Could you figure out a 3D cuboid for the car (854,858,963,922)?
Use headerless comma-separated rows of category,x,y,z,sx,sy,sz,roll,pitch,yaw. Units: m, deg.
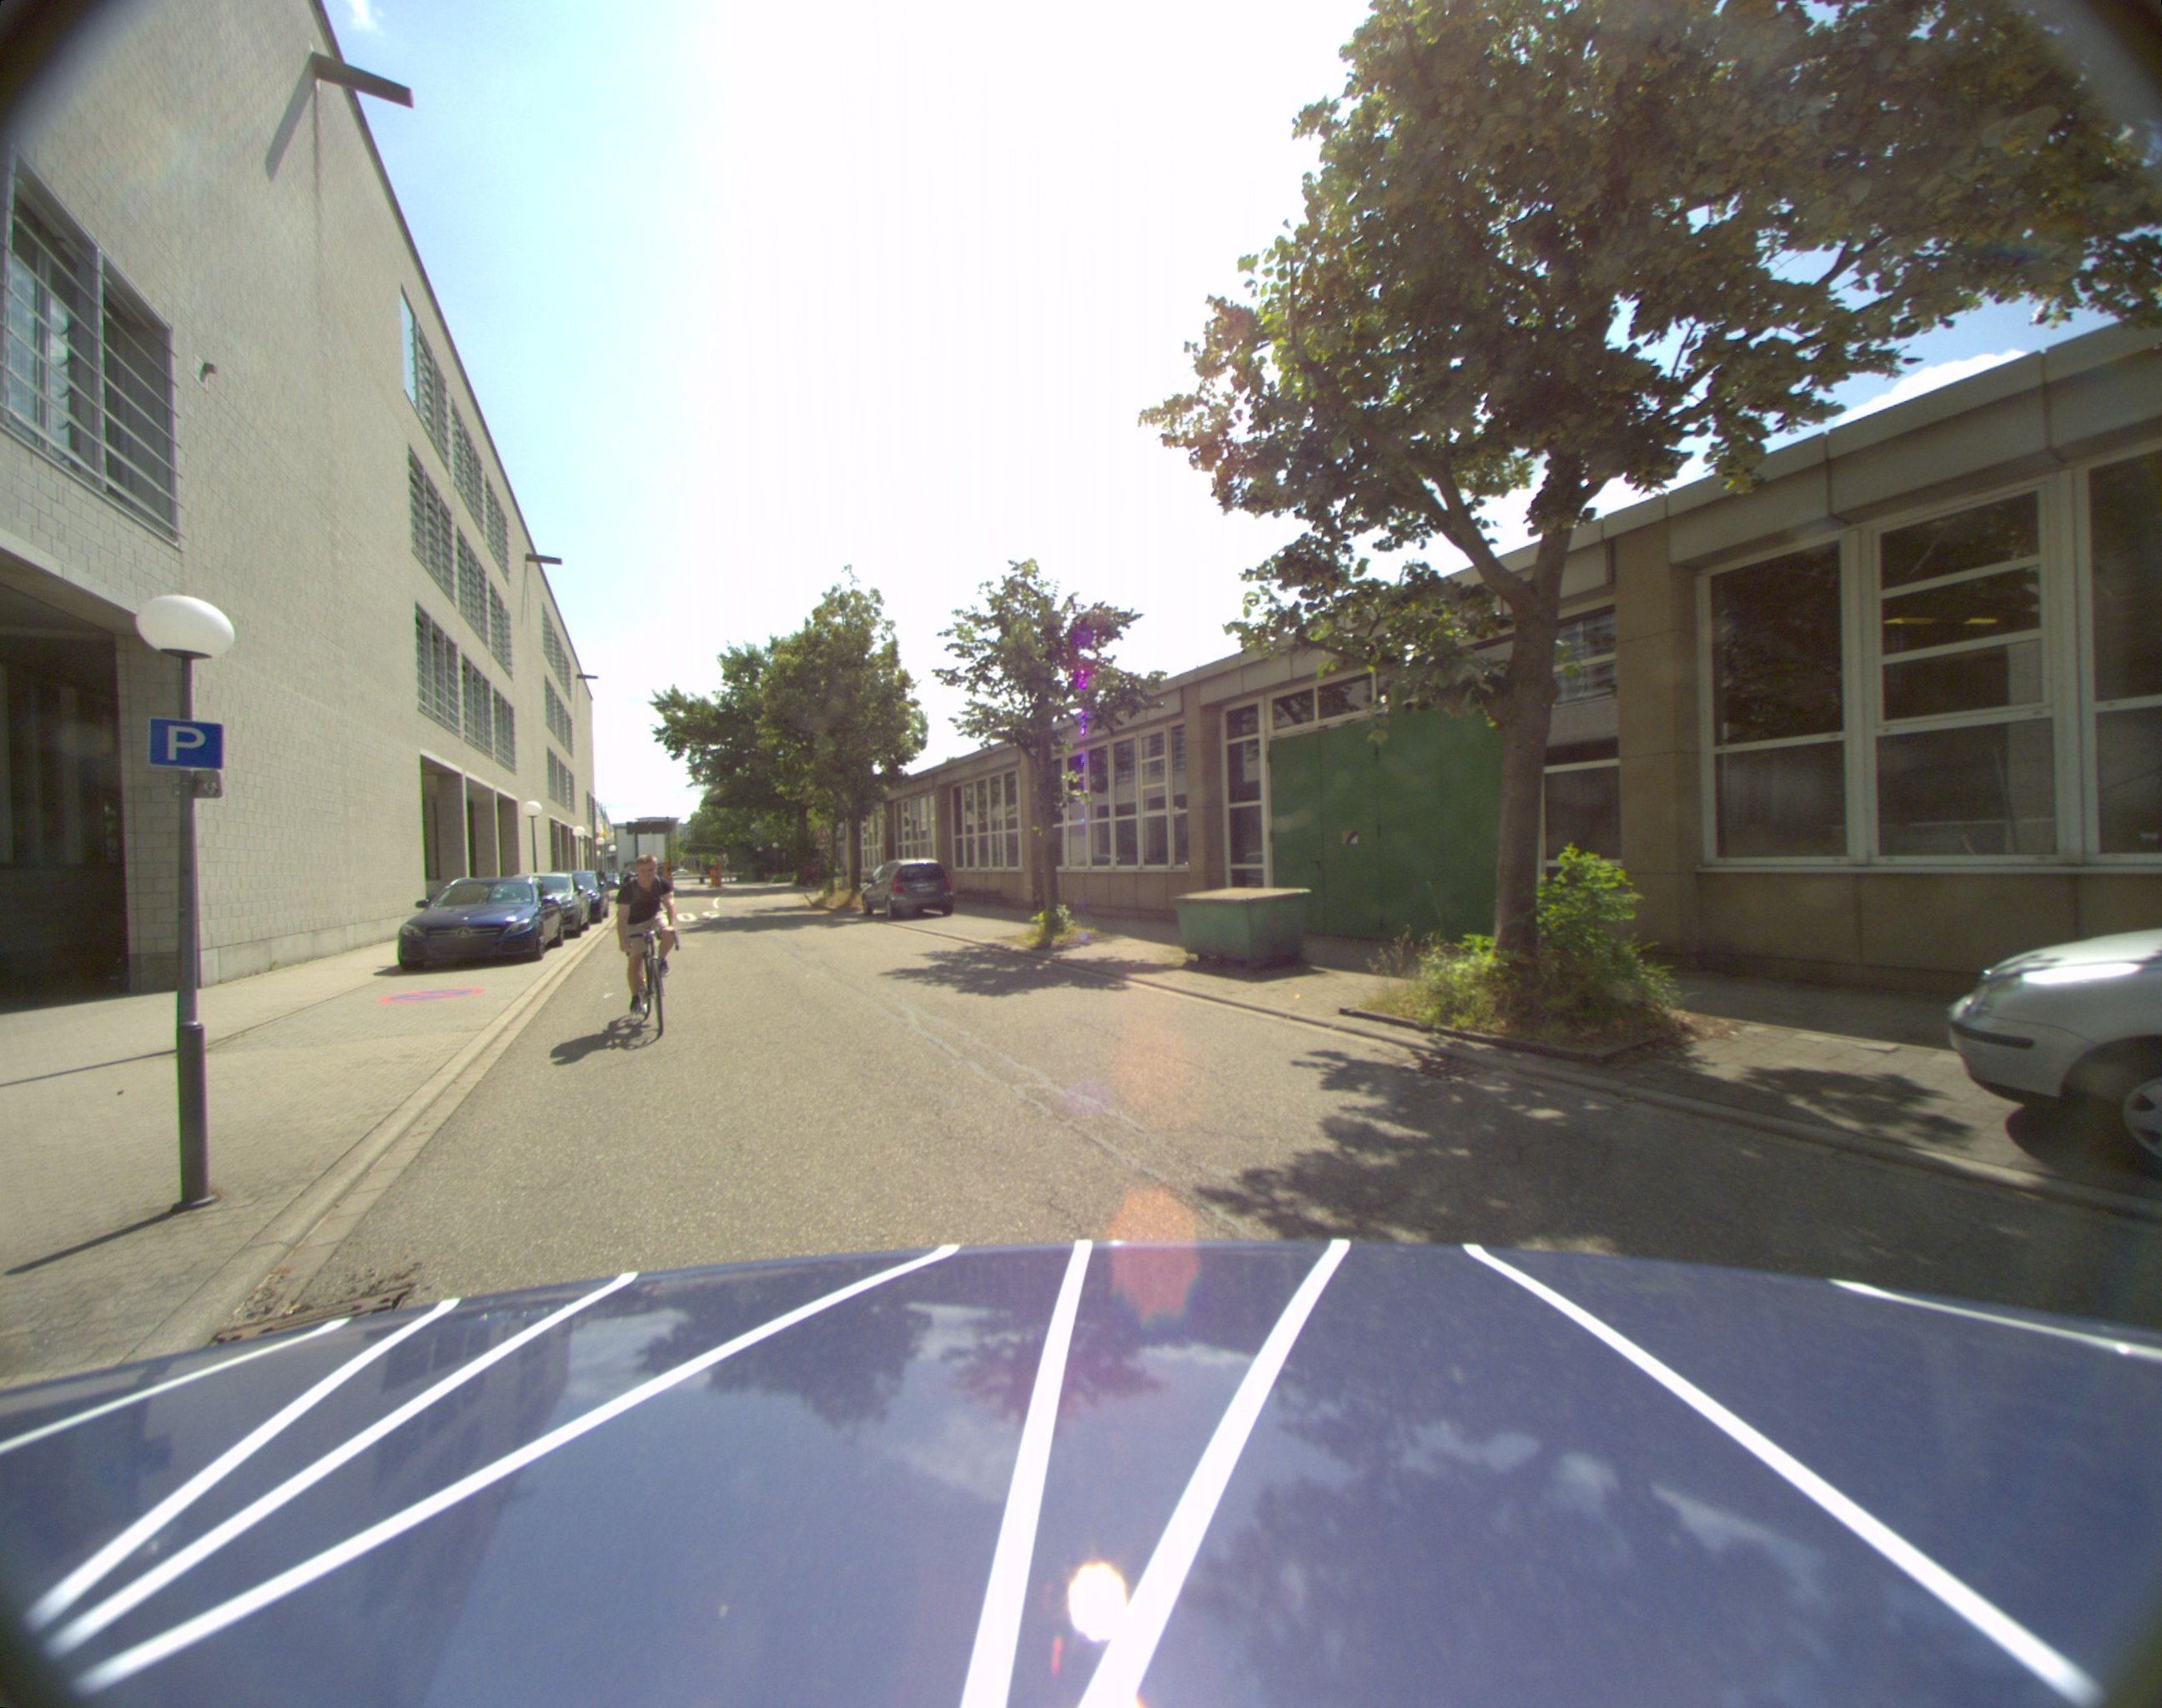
car,-5.056,0.978,21.891,1.854,1.569,4.125,-3,1,-30

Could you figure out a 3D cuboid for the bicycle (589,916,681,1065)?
bicycle,-4.283,1.240,7.399,0.606,1.102,1.826,-4,1,-27

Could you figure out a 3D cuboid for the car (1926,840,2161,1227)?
car,5.617,0.690,2.310,1.655,1.467,3.771,-4,1,-29

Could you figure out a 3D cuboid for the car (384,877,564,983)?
car,-10.599,1.208,13.597,1.854,1.467,4.125,-2,0,-30

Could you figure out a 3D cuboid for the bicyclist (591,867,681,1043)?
bicyclist,-4.190,0.904,7.196,0.606,1.526,0.726,-4,1,-27

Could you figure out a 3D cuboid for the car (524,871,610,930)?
car,-15.811,1.345,23.541,1.854,1.572,4.125,-2,0,-30

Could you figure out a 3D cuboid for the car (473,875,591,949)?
car,-13.110,1.294,18.386,1.854,1.467,4.125,-2,0,-30
